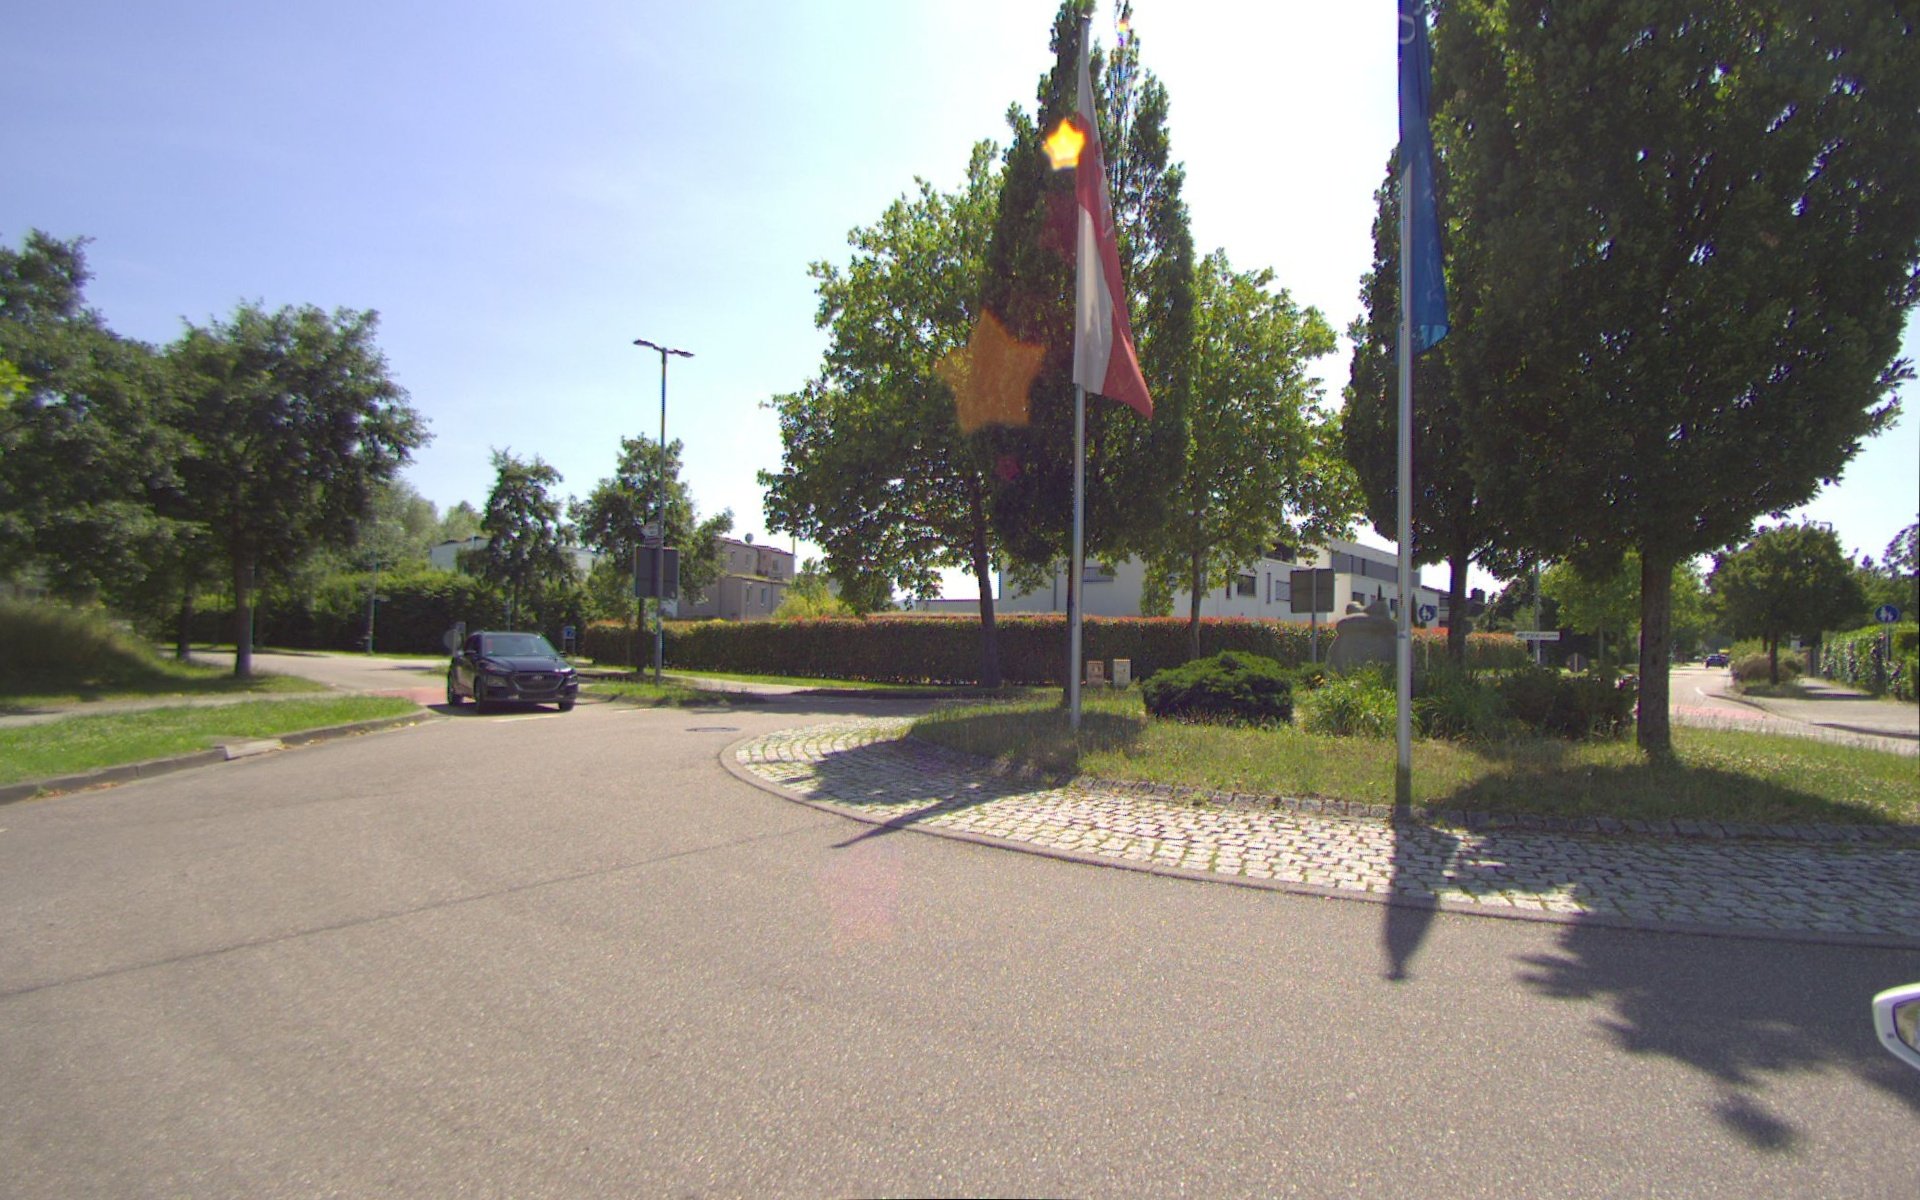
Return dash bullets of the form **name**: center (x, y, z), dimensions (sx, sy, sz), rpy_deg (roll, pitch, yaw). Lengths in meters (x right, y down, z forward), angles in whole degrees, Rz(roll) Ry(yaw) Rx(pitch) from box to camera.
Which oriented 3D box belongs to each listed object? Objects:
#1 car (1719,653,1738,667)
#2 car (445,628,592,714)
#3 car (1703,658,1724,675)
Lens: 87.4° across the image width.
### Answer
- **car**: center (106.648, 8.325, 139.439), dimensions (1.969, 1.793, 3.984), rpy_deg (1, -3, 39)
- **car**: center (-9.268, 1.401, 20.890), dimensions (1.849, 1.589, 4.441), rpy_deg (2, -3, -37)
- **car**: center (90.195, 7.909, 120.211), dimensions (1.899, 1.910, 3.985), rpy_deg (1, -2, 38)
